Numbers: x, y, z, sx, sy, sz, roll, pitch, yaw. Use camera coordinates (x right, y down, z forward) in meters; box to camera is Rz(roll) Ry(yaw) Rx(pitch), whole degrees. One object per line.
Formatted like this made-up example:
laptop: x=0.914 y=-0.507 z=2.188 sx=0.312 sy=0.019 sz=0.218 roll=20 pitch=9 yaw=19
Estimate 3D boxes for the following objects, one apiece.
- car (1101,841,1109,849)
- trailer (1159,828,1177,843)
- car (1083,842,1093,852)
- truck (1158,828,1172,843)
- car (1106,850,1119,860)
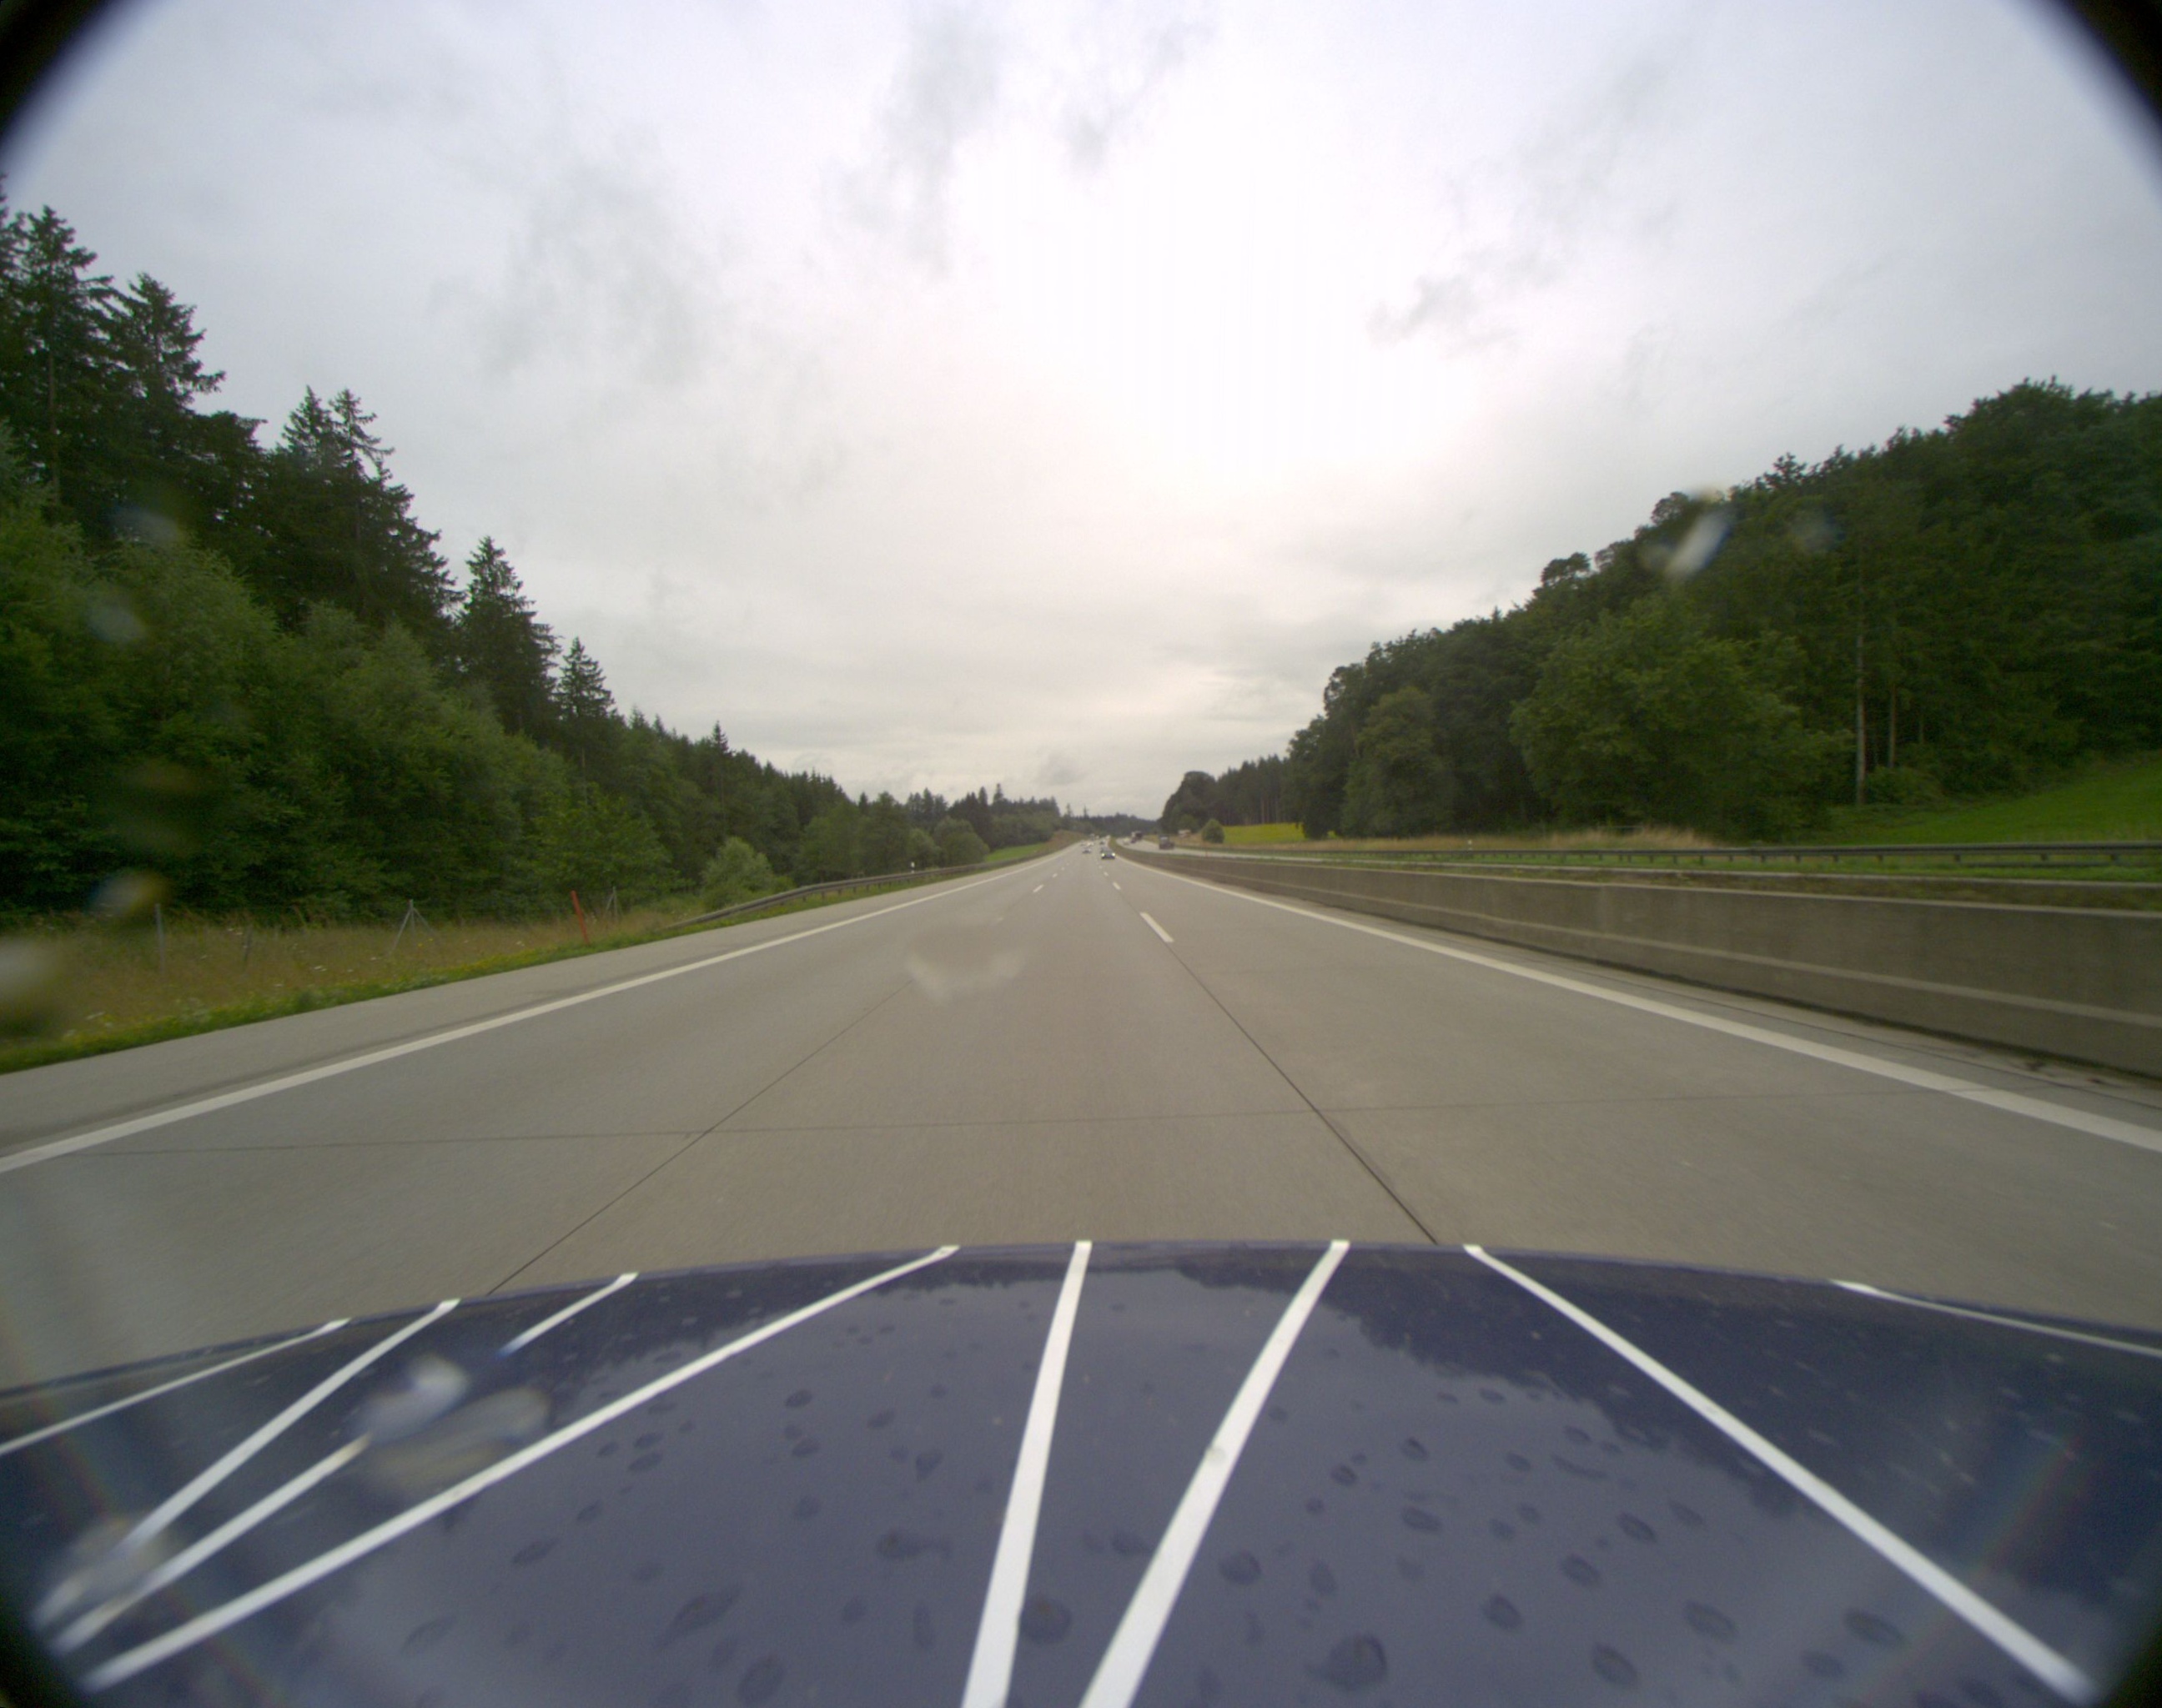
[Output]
car: x=5.484 y=-2.073 z=172.799 sx=1.773 sy=1.783 sz=4.000 roll=-2 pitch=0 yaw=0
trailer: x=21.637 y=-4.645 z=189.769 sx=2.792 sy=3.488 sz=13.881 roll=-3 pitch=2 yaw=1
car: x=1.540 y=-1.647 z=175.807 sx=2.213 sy=2.002 sz=4.833 roll=-3 pitch=1 yaw=0
truck: x=21.733 y=-4.821 z=196.628 sx=2.763 sy=3.497 sz=6.639 roll=-3 pitch=2 yaw=1
car: x=4.515 y=0.140 z=110.787 sx=1.766 sy=1.455 sz=4.000 roll=-3 pitch=0 yaw=1
